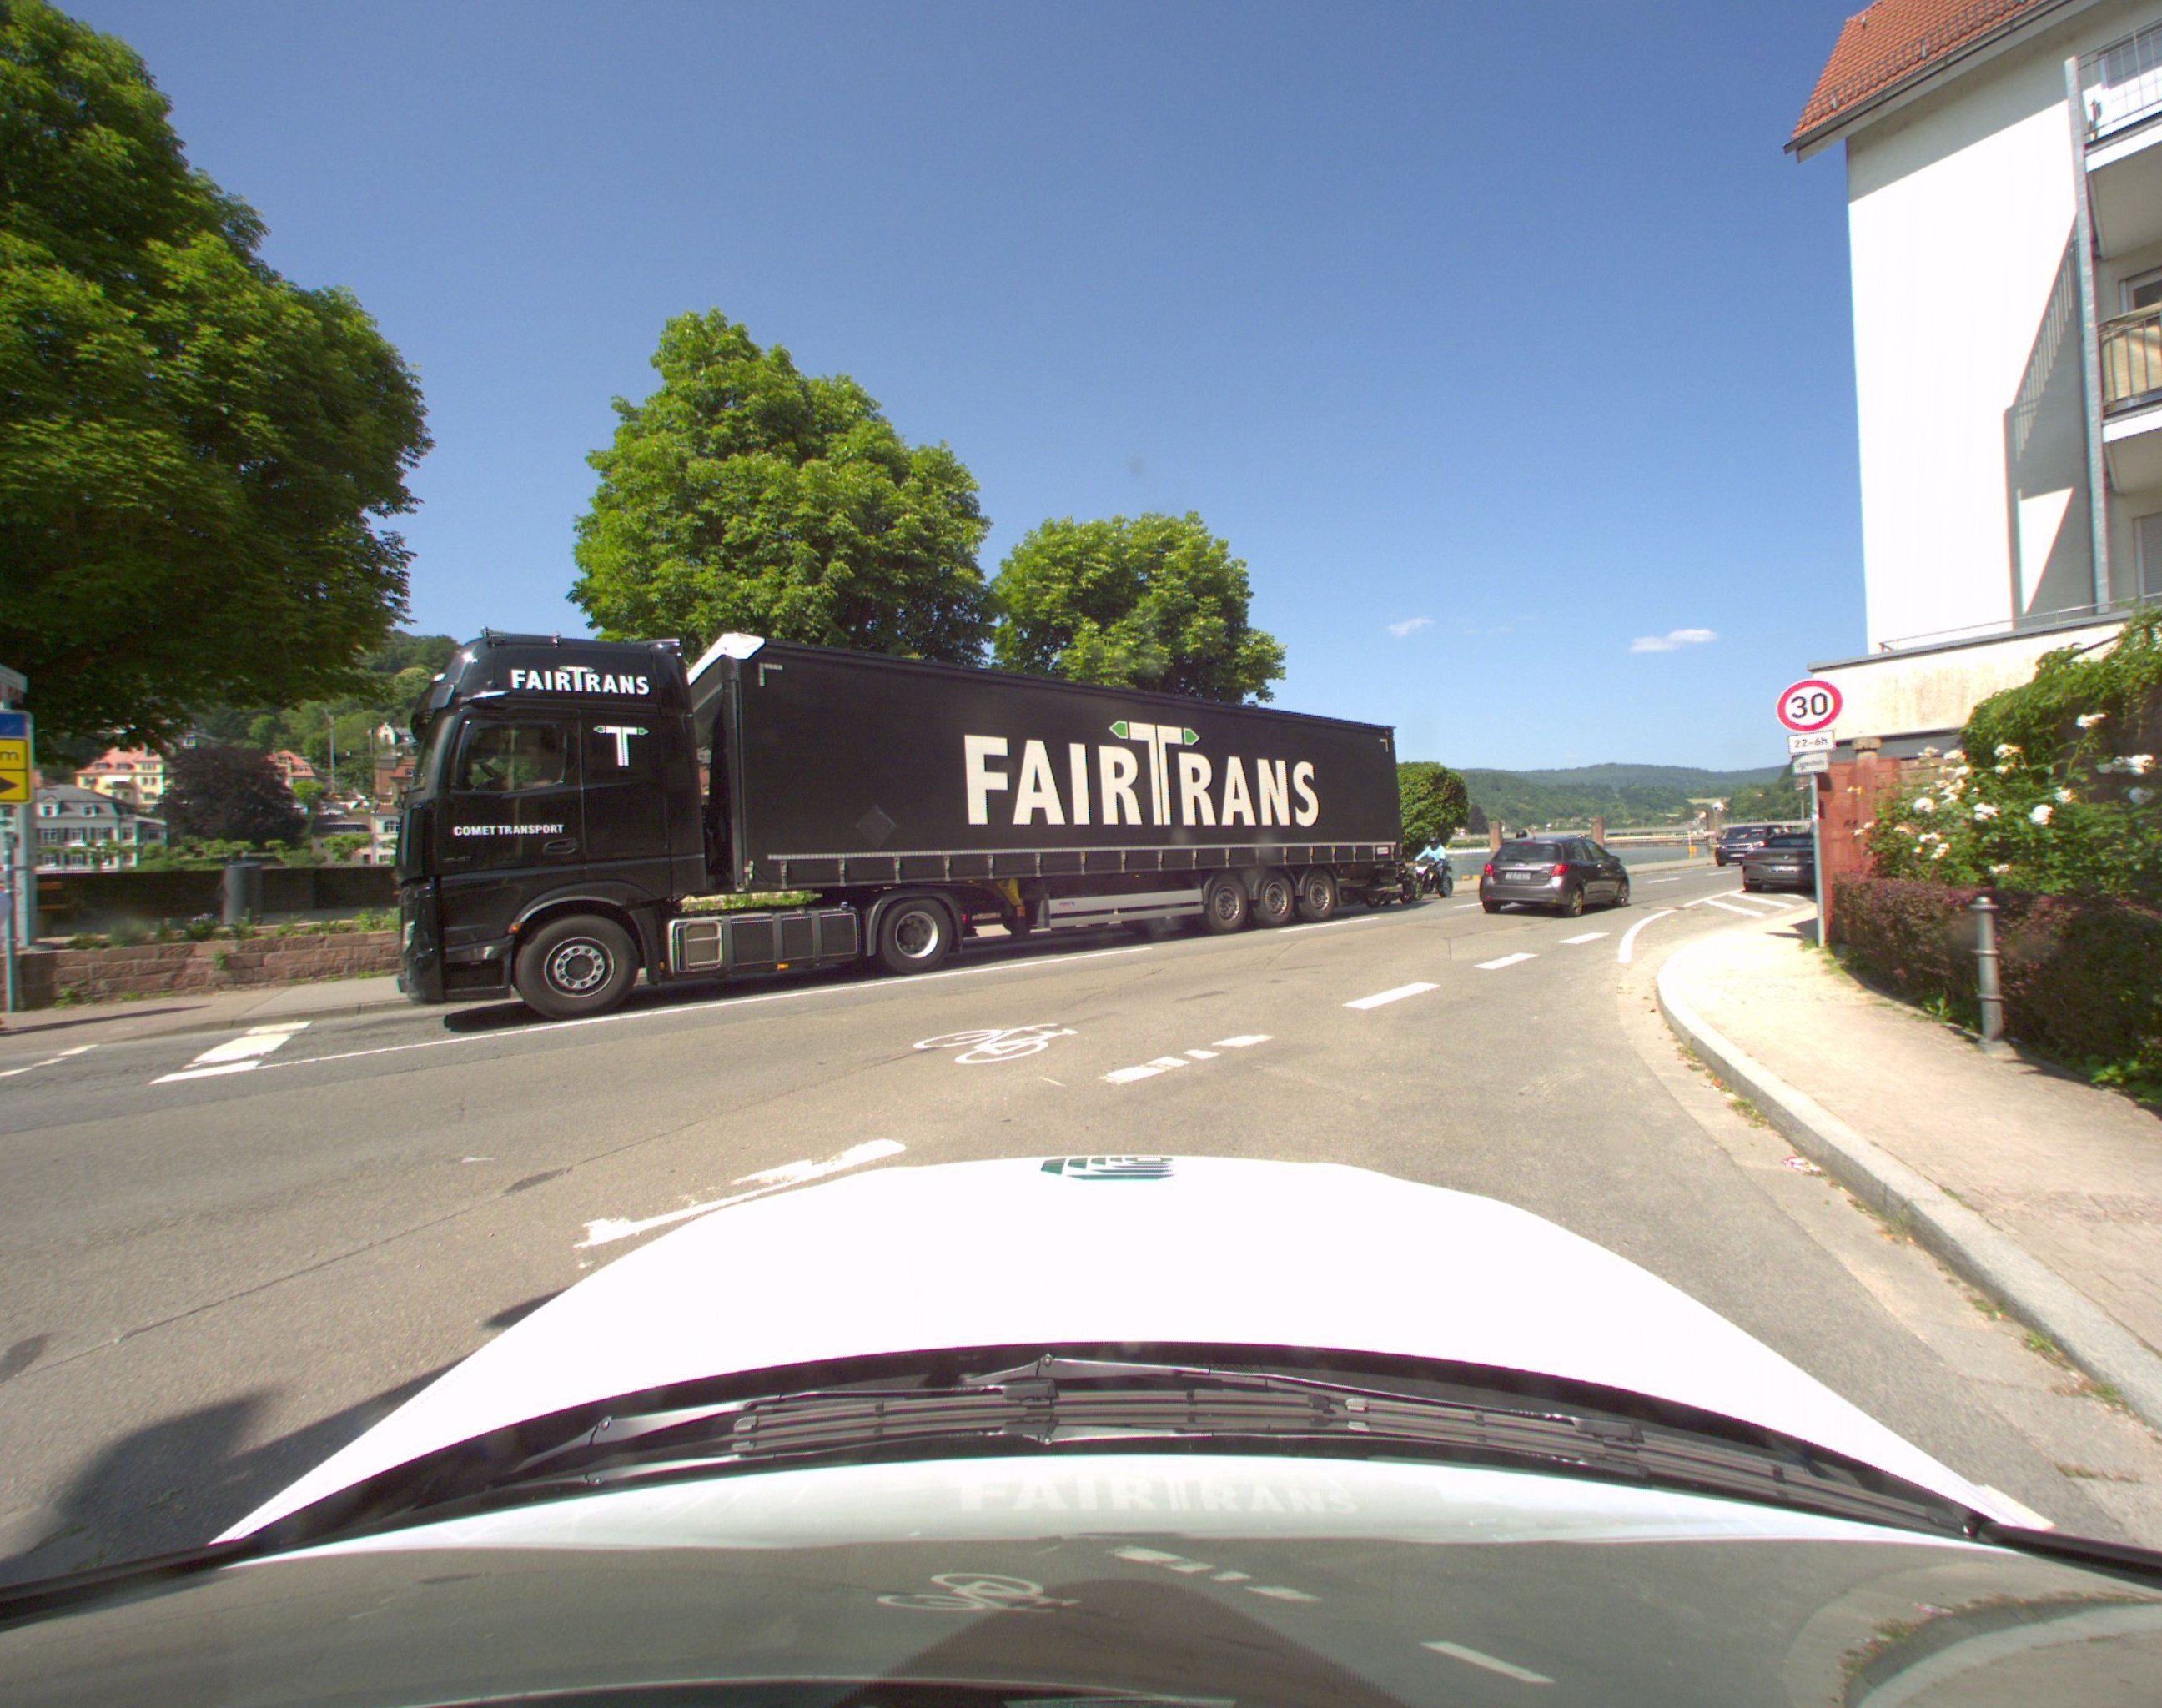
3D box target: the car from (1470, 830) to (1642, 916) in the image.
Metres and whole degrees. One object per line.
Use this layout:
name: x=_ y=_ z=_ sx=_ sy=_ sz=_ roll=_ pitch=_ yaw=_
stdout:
car: x=9.555 y=0.321 z=16.282 sx=3.901 sy=1.498 sz=1.707 roll=-2 pitch=-1 yaw=-40

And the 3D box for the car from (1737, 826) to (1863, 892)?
car: x=17.057 y=0.077 z=19.263 sx=3.759 sy=1.399 sz=1.673 roll=-2 pitch=0 yaw=-40

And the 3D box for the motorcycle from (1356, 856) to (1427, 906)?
motorcycle: x=7.794 y=0.666 z=20.372 sx=2.103 sy=1.123 sz=0.628 roll=-2 pitch=-3 yaw=-39

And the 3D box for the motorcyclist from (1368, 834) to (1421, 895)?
motorcyclist: x=7.864 y=0.261 z=20.421 sx=0.996 sy=1.460 sz=0.772 roll=-2 pitch=-2 yaw=-39

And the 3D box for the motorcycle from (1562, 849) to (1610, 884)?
motorcycle: x=15.829 y=0.387 z=25.508 sx=1.824 sy=1.024 sz=0.651 roll=-2 pitch=-1 yaw=-39

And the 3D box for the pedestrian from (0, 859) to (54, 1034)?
pedestrian: x=-11.509 y=0.973 z=8.544 sx=0.706 sy=1.802 sz=0.575 roll=-2 pitch=-1 yaw=-25

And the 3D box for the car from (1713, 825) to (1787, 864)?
car: x=30.721 y=-0.433 z=37.368 sx=3.792 sy=1.669 sz=1.753 roll=-2 pitch=0 yaw=-37

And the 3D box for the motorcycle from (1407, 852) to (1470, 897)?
motorcycle: x=9.834 y=0.563 z=22.397 sx=2.103 sy=1.123 sz=0.628 roll=-2 pitch=-3 yaw=-39

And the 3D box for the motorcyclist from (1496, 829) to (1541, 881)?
motorcyclist: x=11.903 y=0.031 z=22.161 sx=0.804 sy=1.366 sz=0.780 roll=-2 pitch=-1 yaw=-39

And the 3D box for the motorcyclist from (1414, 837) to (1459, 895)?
motorcyclist: x=9.753 y=0.319 z=22.341 sx=0.996 sy=1.525 sz=0.657 roll=-2 pitch=-2 yaw=-39

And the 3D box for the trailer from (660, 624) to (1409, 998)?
trailer: x=0.625 y=-0.608 z=14.293 sx=13.839 sy=4.104 sz=2.809 roll=-2 pitch=-2 yaw=-38

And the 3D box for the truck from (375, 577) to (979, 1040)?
truck: x=-4.660 y=-0.425 z=10.097 sx=5.962 sy=4.071 sz=2.807 roll=-2 pitch=-2 yaw=-39

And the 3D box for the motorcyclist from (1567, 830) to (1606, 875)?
motorcyclist: x=15.835 y=-0.037 z=25.508 sx=0.941 sy=1.366 sz=0.711 roll=-2 pitch=-1 yaw=-39
